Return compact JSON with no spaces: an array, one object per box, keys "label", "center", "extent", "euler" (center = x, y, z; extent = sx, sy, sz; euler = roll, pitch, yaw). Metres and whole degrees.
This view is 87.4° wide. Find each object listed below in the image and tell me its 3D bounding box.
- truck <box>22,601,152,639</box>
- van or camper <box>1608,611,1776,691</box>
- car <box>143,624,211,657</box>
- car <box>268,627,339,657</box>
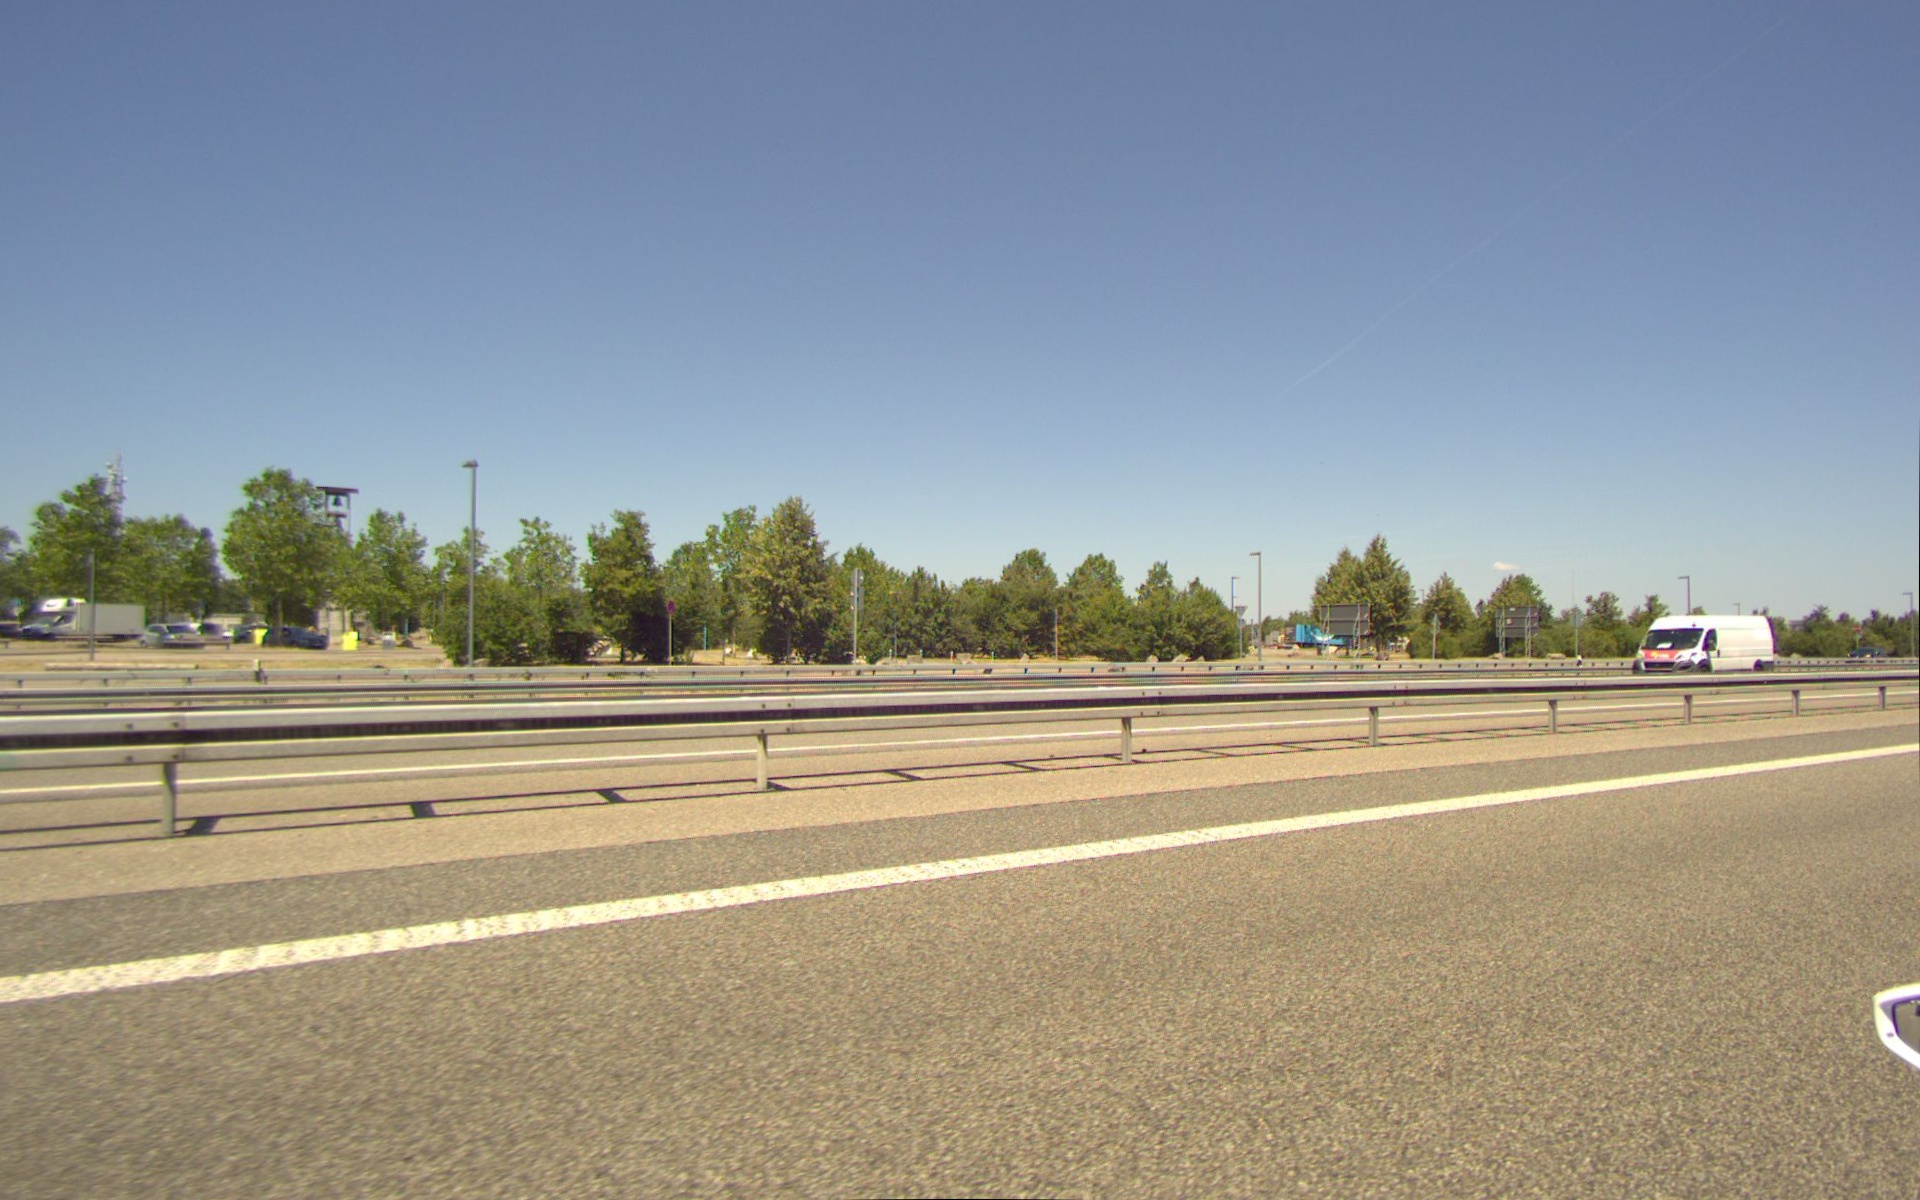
[{"label":"truck","center":[-63.166,1.419,72.896],"extent":[2.097,2.526,6.934],"euler":[2,0,18]},{"label":"van or camper","center":[25.993,1.840,35.608],"extent":[6.292,2.615,2.408],"euler":[2,-5,-30]},{"label":"car","center":[-44.657,2.305,57.255],"extent":[3.334,1.693,1.548],"euler":[2,0,21]},{"label":"car","center":[-39.372,2.515,60.278],"extent":[3.214,1.629,1.548],"euler":[2,0,1]}]
